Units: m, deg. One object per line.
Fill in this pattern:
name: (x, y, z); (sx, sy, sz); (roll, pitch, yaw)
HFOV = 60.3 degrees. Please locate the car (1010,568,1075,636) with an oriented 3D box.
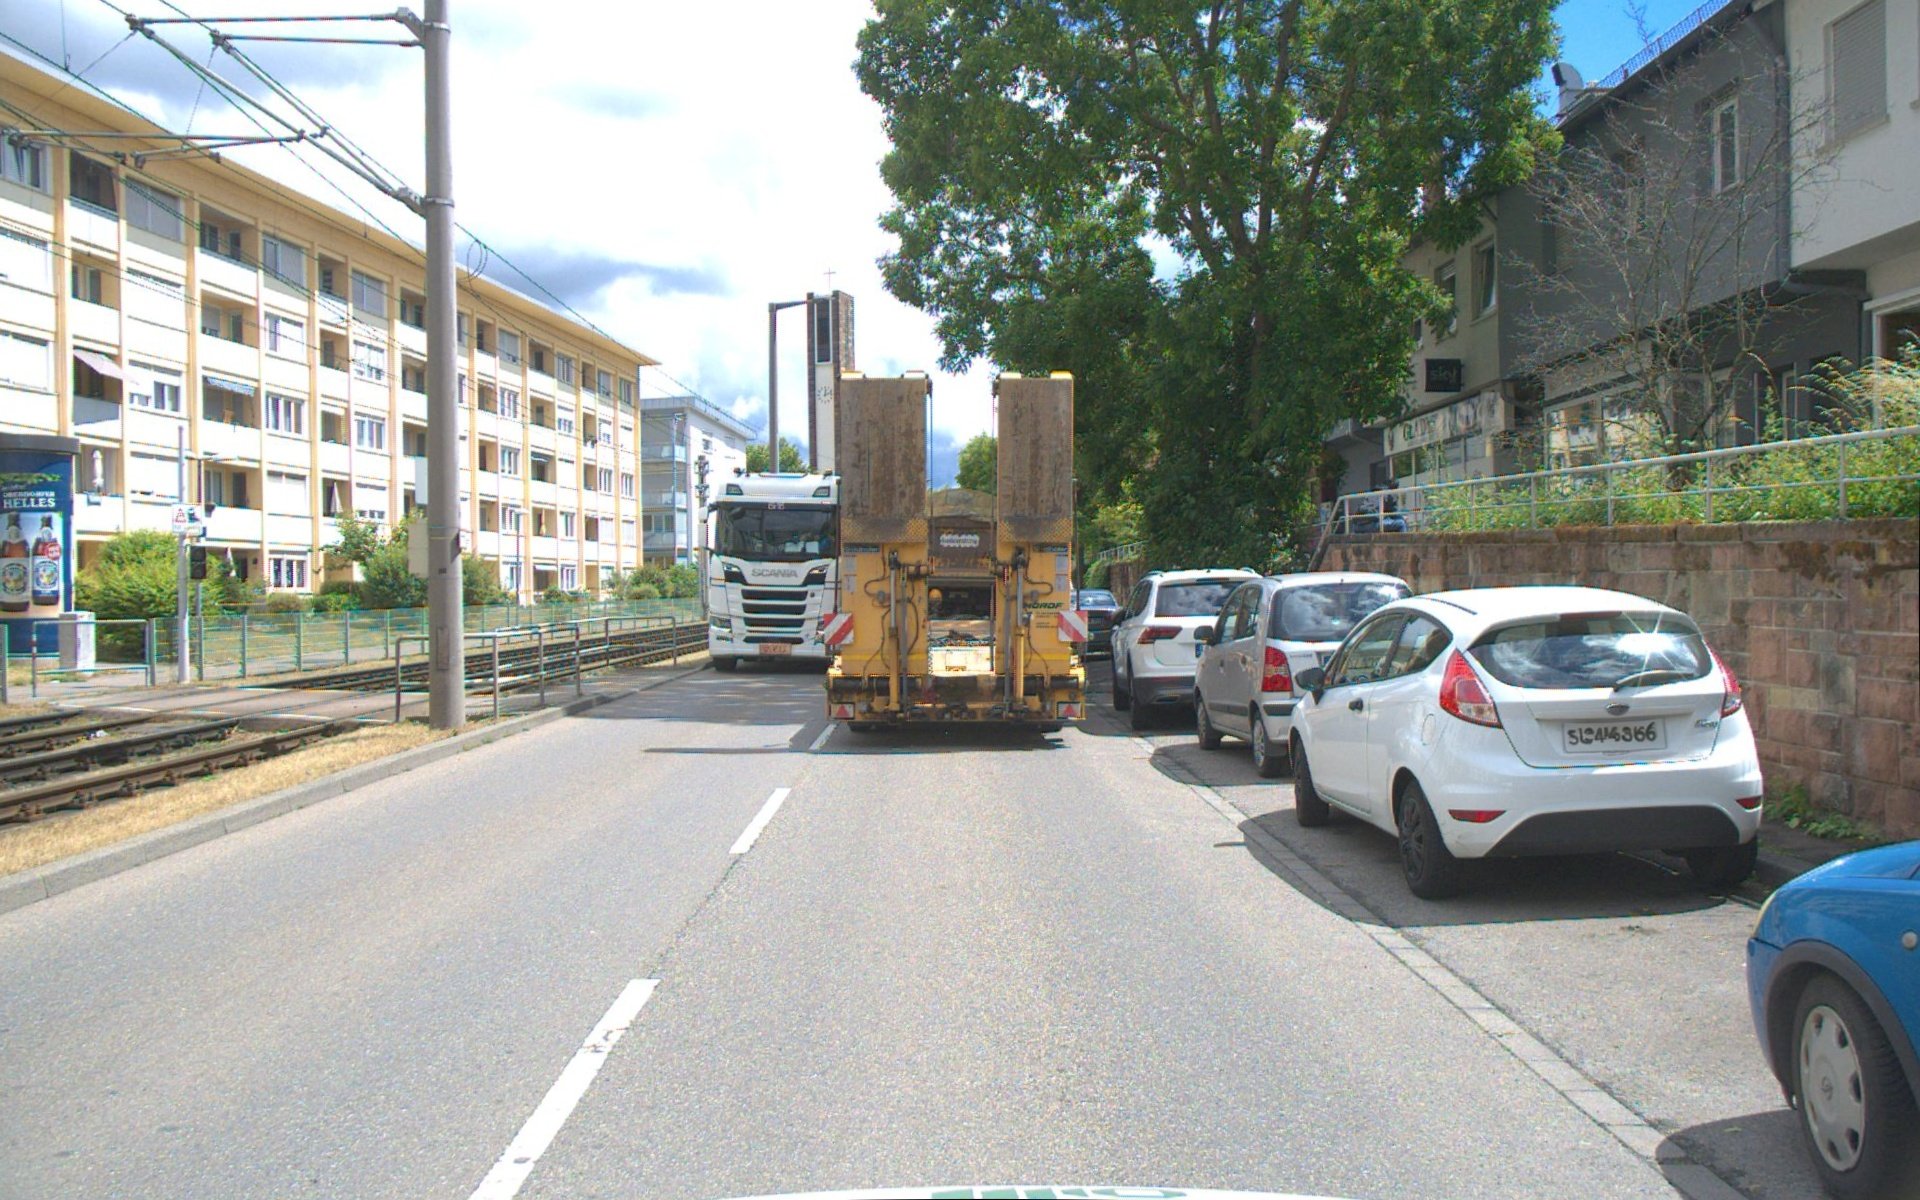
car: (2.556, 0.017, 52.422); (1.763, 2.002, 4.590); (-2, 1, 0)

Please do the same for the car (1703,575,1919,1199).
car: (3.017, 0.687, 2.918); (1.576, 1.482, 3.674); (-2, 1, -3)

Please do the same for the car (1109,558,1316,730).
car: (2.784, 0.409, 19.173); (1.786, 1.711, 4.577); (-1, 1, 2)

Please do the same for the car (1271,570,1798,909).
car: (2.963, 0.600, 9.394); (1.611, 1.516, 3.821); (-1, 1, -1)

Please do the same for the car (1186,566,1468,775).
car: (3.043, 0.508, 14.371); (1.549, 1.579, 3.474); (-1, 1, -2)

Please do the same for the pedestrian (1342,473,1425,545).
pedestrian: (4.969, -1.063, 19.442); (0.779, 0.804, 0.705); (-1, 1, -2)

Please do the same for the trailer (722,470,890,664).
trailer: (-3.207, -0.737, 38.094); (2.643, 3.642, 13.674); (0, 1, 0)

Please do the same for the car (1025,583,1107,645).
car: (2.636, 0.312, 41.823); (1.656, 1.430, 4.067); (-2, 1, -2)

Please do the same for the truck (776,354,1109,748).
truck: (-0.207, -0.555, 21.583); (3.060, 3.626, 12.459); (-1, 1, 0)

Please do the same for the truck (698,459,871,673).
truck: (-3.174, -0.630, 31.475); (2.643, 3.642, 6.144); (0, 1, 0)

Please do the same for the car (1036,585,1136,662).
car: (2.580, 0.449, 34.690); (1.798, 1.430, 4.414); (-2, 1, 1)
